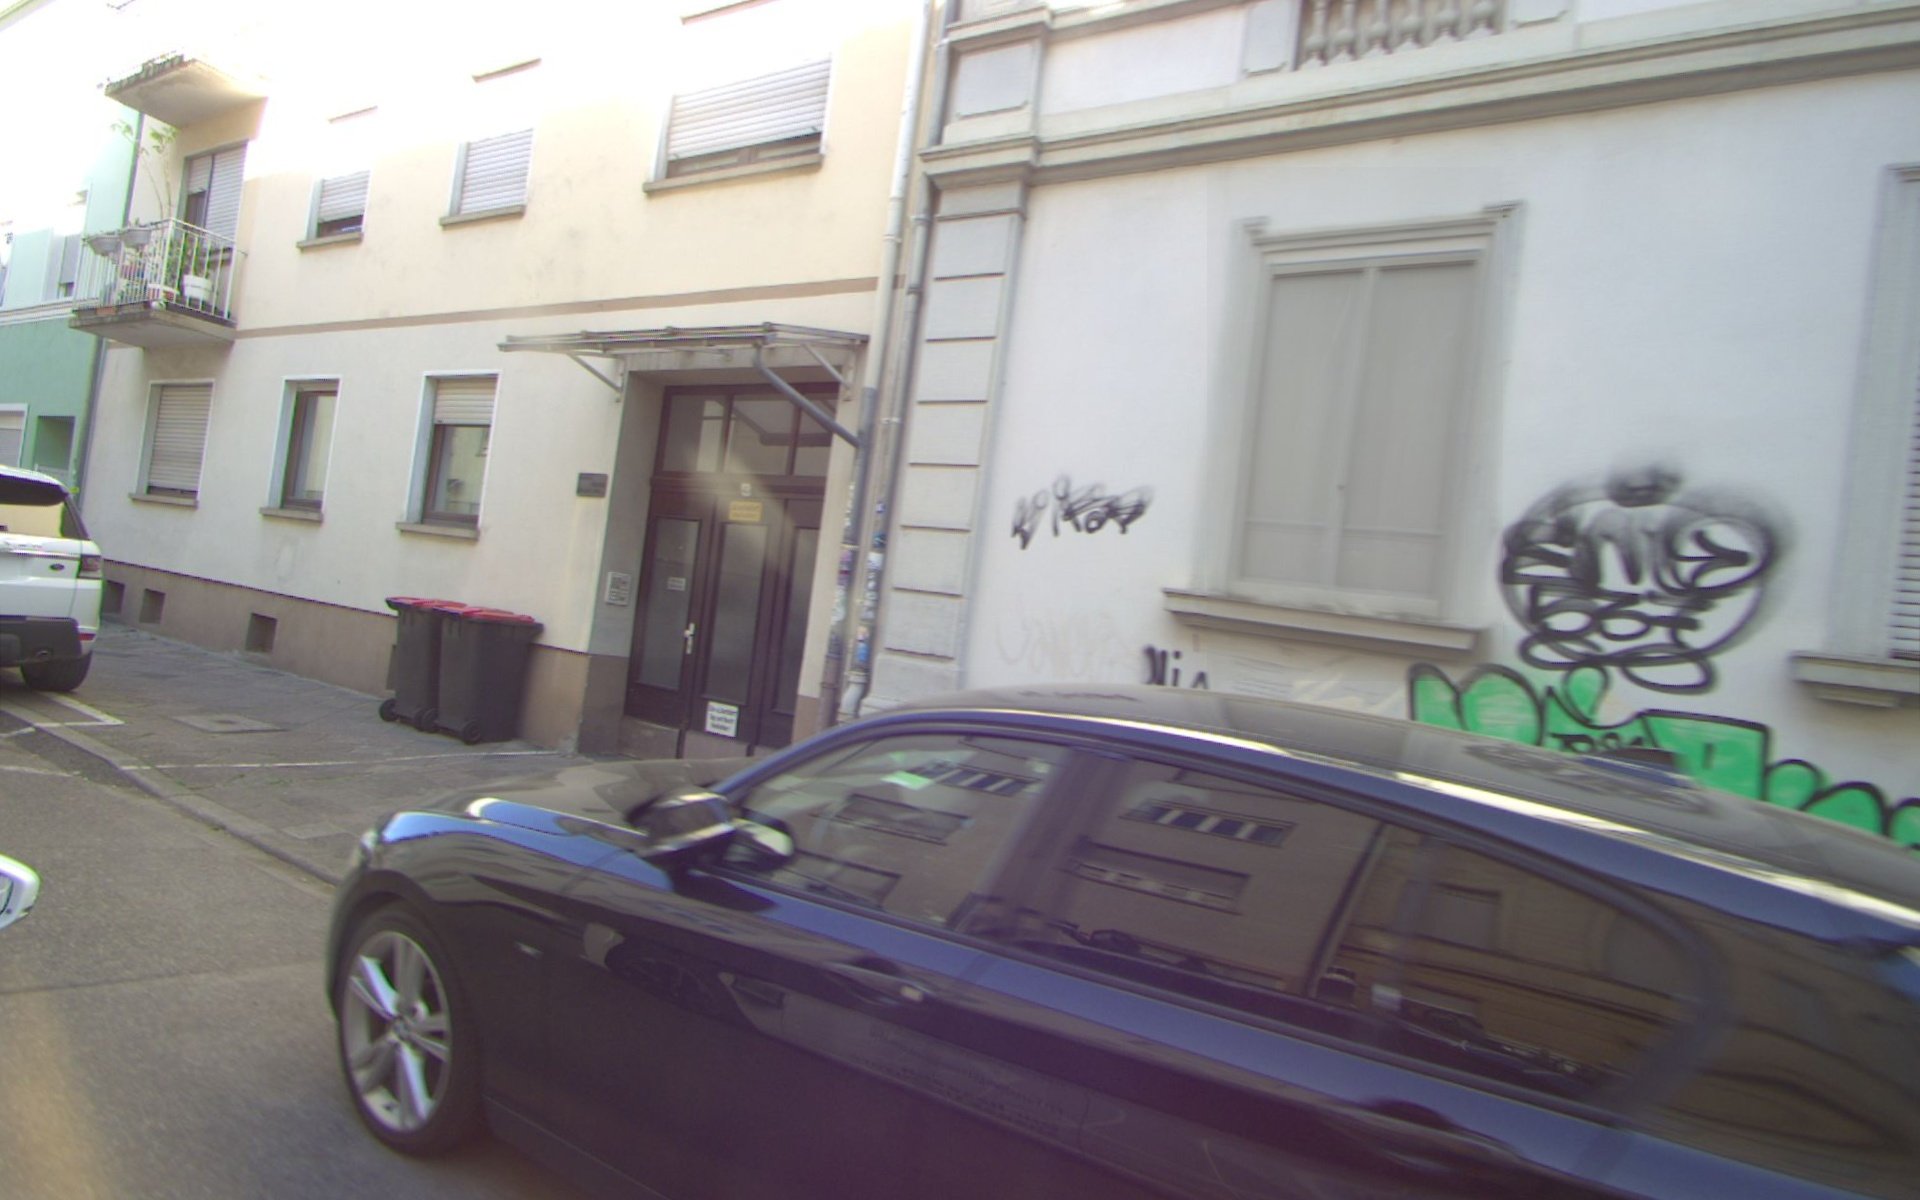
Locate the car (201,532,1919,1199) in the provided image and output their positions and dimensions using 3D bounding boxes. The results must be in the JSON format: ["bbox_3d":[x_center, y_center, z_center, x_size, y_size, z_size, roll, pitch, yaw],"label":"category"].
[{"bbox_3d":[-0.033,0.844,2.683,3.805,1.464,1.752,7,-3,31],"label":"car"}]

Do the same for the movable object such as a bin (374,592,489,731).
[{"bbox_3d":[-4.480,0.524,8.542,0.544,1.084,0.577,7,0,34],"label":"movable object such as a bin"}]

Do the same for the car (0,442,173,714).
[{"bbox_3d":[-8.507,-0.409,7.843,4.856,1.804,2.009,7,-1,31],"label":"car"}]

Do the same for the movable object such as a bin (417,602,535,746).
[{"bbox_3d":[-3.965,0.607,8.252,0.544,1.084,0.577,7,0,34],"label":"movable object such as a bin"}]
